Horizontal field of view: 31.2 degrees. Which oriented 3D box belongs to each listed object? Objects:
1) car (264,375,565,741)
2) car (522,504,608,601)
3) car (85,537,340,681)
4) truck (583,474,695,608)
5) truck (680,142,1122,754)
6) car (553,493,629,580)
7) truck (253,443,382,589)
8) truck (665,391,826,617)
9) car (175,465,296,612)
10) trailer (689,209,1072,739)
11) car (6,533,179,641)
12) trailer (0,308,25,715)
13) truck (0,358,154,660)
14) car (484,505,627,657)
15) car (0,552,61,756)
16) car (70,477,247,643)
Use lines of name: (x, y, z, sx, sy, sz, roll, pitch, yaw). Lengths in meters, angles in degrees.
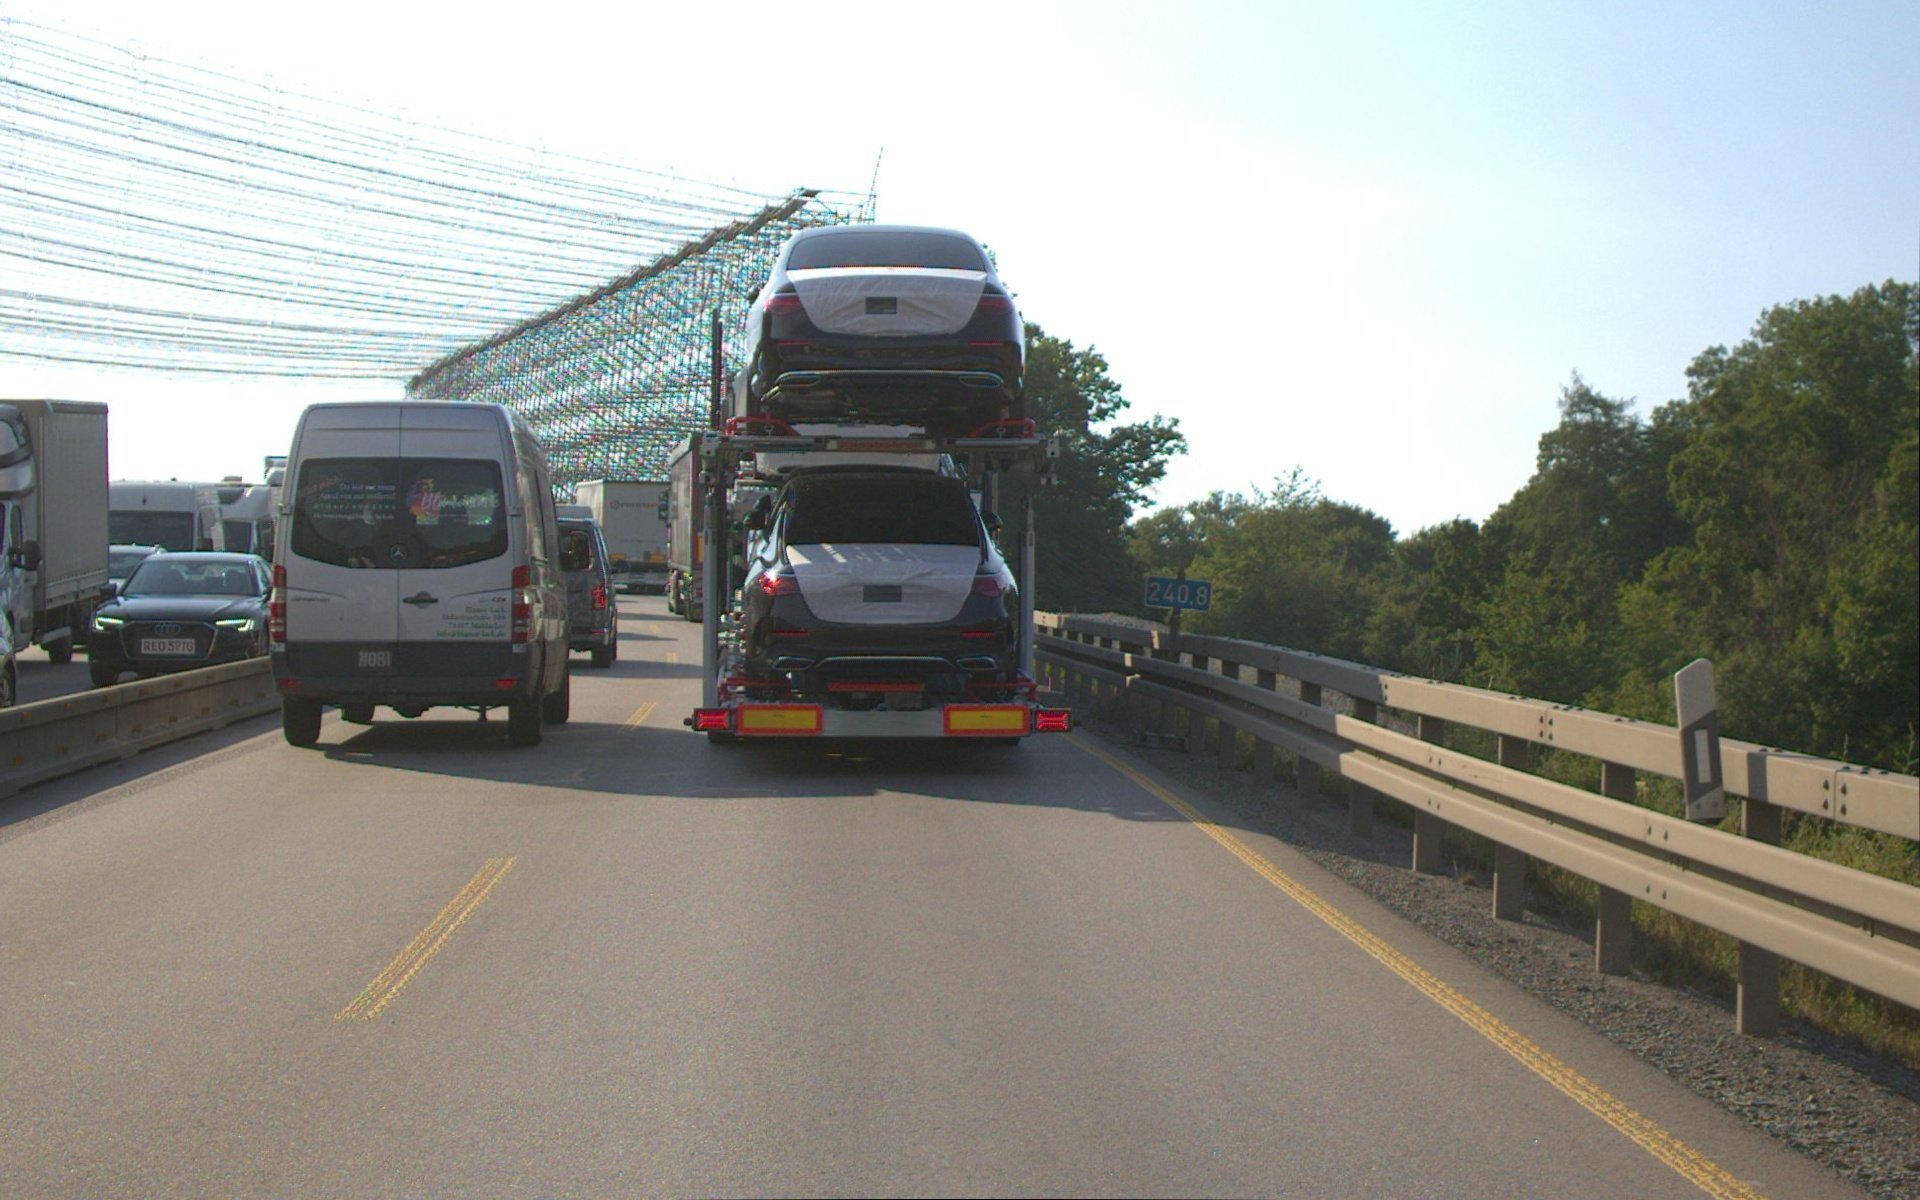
car: (-4.229, -0.291, 27.255, 1.979, 2.675, 4.147, 0, -1, -4)
car: (-8.395, -0.988, 73.319, 1.668, 1.978, 3.818, 0, -1, -4)
car: (-8.371, 0.114, 38.905, 1.993, 1.525, 4.726, 0, -1, -2)
truck: (-11.897, -2.172, 126.350, 3.647, 4.661, 11.698, 0, 1, -8)
truck: (-0.547, -0.965, 25.252, 2.869, 3.966, 5.772, 0, -1, -3)
car: (-8.741, -1.484, 81.595, 1.668, 1.978, 3.818, 0, -1, -4)
truck: (-18.308, -2.364, 98.423, 2.641, 3.981, 9.031, 0, 1, -4)
truck: (-4.937, -2.092, 77.005, 3.227, 4.661, 11.697, 0, 1, -5)
car: (-14.150, -1.203, 67.346, 1.668, 2.756, 4.960, 0, 1, -4)
trailer: (-1.035, -0.884, 33.534, 2.874, 3.980, 15.280, 0, -1, -3)
car: (-12.753, -0.168, 50.743, 1.808, 1.525, 4.048, 0, -1, -4)
trailer: (-11.440, -1.000, 31.021, 2.893, 4.379, 14.381, 0, -1, -3)
truck: (-12.198, -1.030, 43.862, 2.358, 3.519, 7.698, 0, -1, -3)
car: (-5.434, -0.229, 46.534, 1.668, 1.978, 3.818, 0, -1, -3)
car: (-7.665, 0.380, 23.997, 1.754, 1.444, 4.534, 0, -1, -2)
car: (-13.850, -0.645, 59.684, 2.128, 2.741, 5.505, 0, -1, -4)
